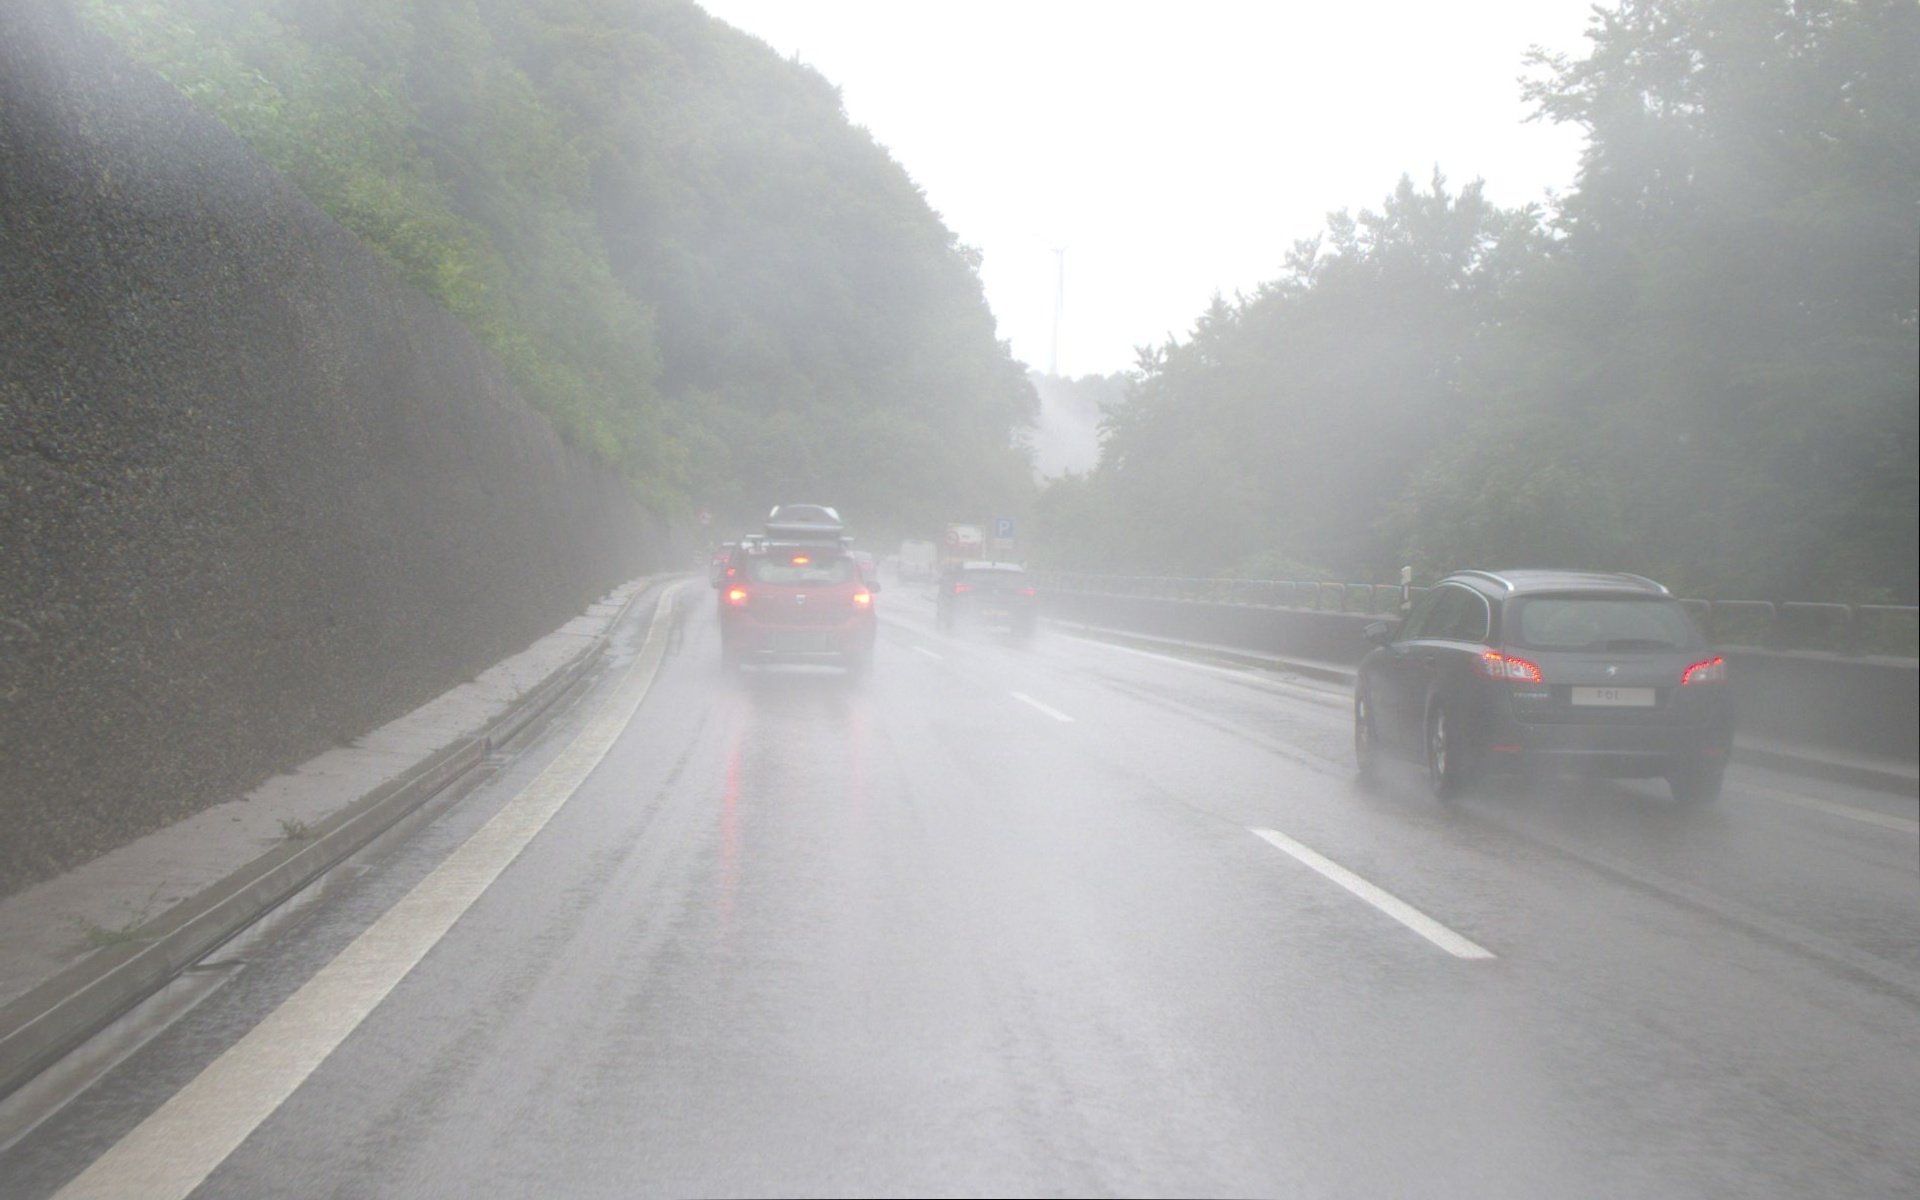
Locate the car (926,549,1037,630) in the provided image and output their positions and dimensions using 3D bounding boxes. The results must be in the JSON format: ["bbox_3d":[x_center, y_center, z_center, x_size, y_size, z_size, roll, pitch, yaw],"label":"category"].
[{"bbox_3d":[0.397,-0.238,69.116,1.993,1.546,4.001,1,1,-3],"label":"car"}]

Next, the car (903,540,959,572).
[{"bbox_3d":[-1.865,-2.800,217.243,2.448,2.007,4.738,0,1,-15],"label":"car"}]

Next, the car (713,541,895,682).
[{"bbox_3d":[-1.813,0.123,39.950,1.993,1.547,4.000,0,0,-3],"label":"car"}]

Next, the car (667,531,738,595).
[{"bbox_3d":[-8.502,-1.205,113.268,1.993,2.007,4.001,1,0,-8],"label":"car"}]

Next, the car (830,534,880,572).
[{"bbox_3d":[-4.509,-2.023,147.277,1.993,1.571,4.001,1,1,-3],"label":"car"}]

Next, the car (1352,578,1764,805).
[{"bbox_3d":[3.772,0.533,22.374,1.800,1.303,4.001,0,1,-3],"label":"car"}]

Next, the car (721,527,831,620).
[{"bbox_3d":[-3.450,-0.473,65.104,1.993,1.678,4.000,1,0,-2],"label":"car"}]

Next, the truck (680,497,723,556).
[{"bbox_3d":[-12.352,-3.463,164.041,1.993,2.741,5.587,-1,1,-4],"label":"truck"}]
